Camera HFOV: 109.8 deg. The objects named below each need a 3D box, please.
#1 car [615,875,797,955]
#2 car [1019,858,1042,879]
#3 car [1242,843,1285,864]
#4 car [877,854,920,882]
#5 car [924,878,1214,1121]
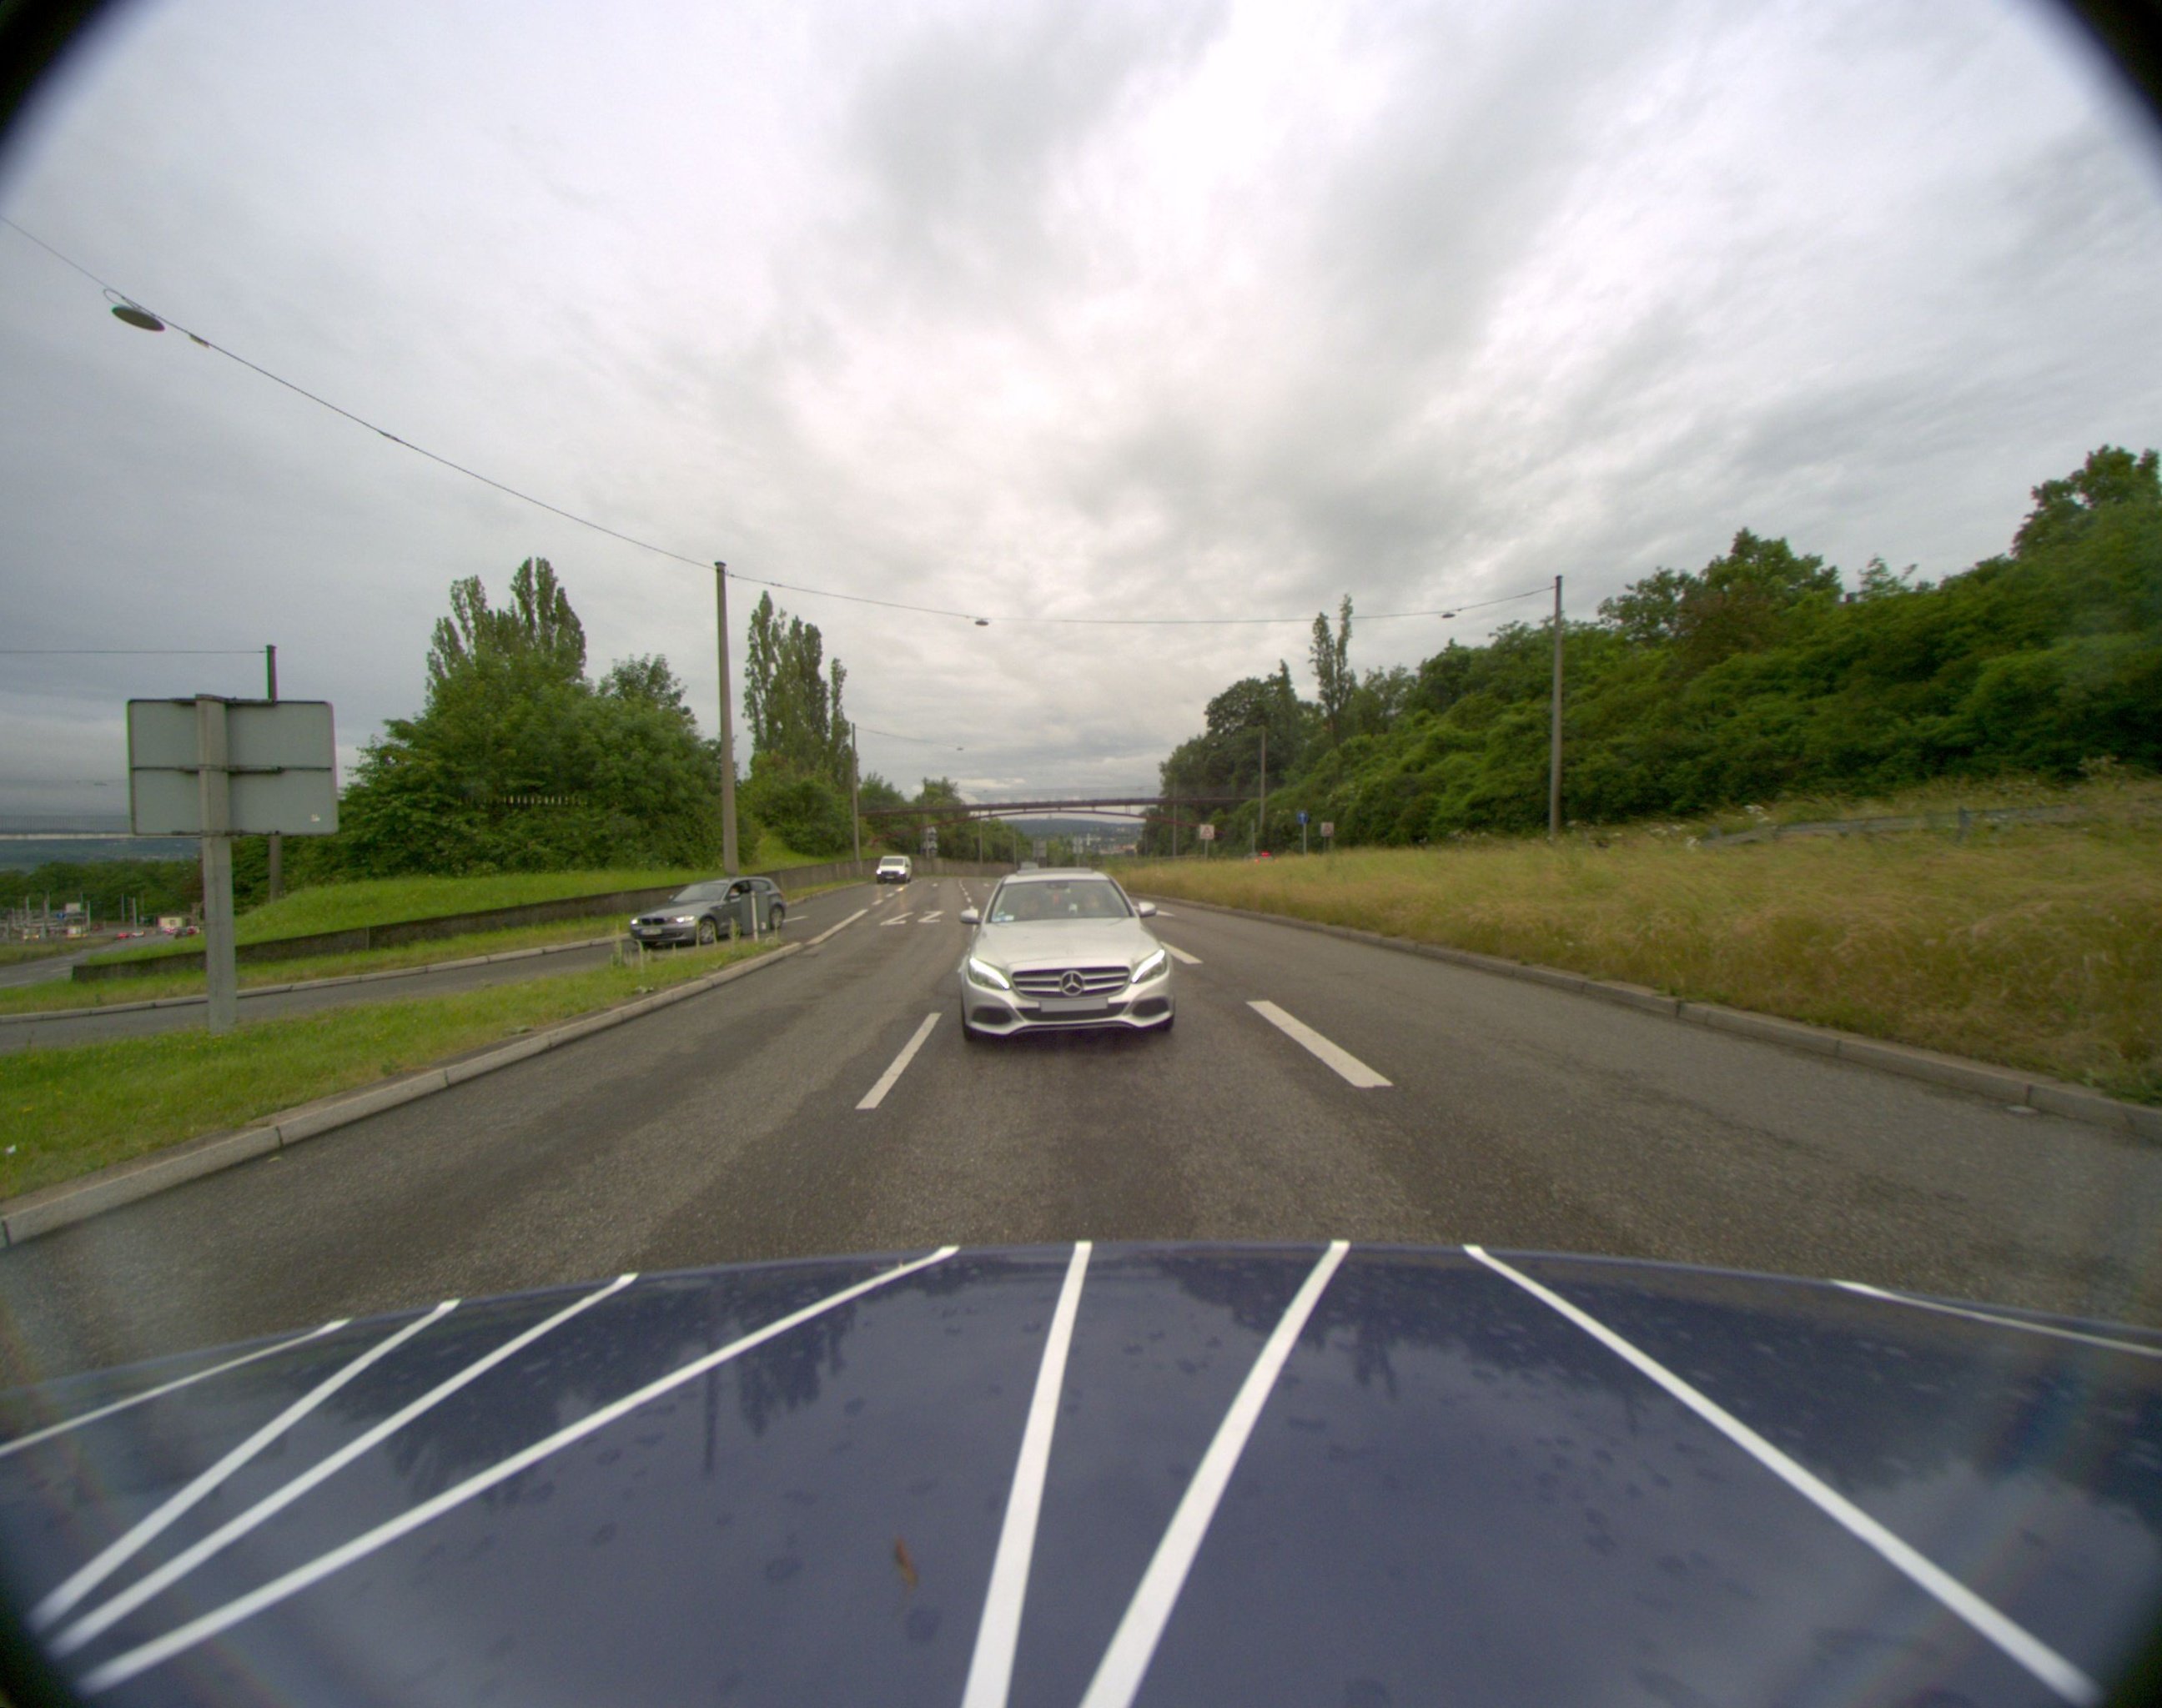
[{"bbox_3d":[-8.715,1.359,18.122,1.683,1.412,4.084,-3,1,11],"label":"car"},{"bbox_3d":[-3.784,1.107,57.438,1.646,1.495,3.778,-3,-2,-3],"label":"car"},{"bbox_3d":[13.370,-0.056,55.921,1.999,1.445,4.285,-2,1,-1],"label":"car"},{"bbox_3d":[-12.584,0.922,52.560,1.999,1.837,4.822,0,1,-2],"label":"car"},{"bbox_3d":[-0.238,1.023,7.109,1.895,1.360,4.132,-2,1,-5],"label":"car"}]
